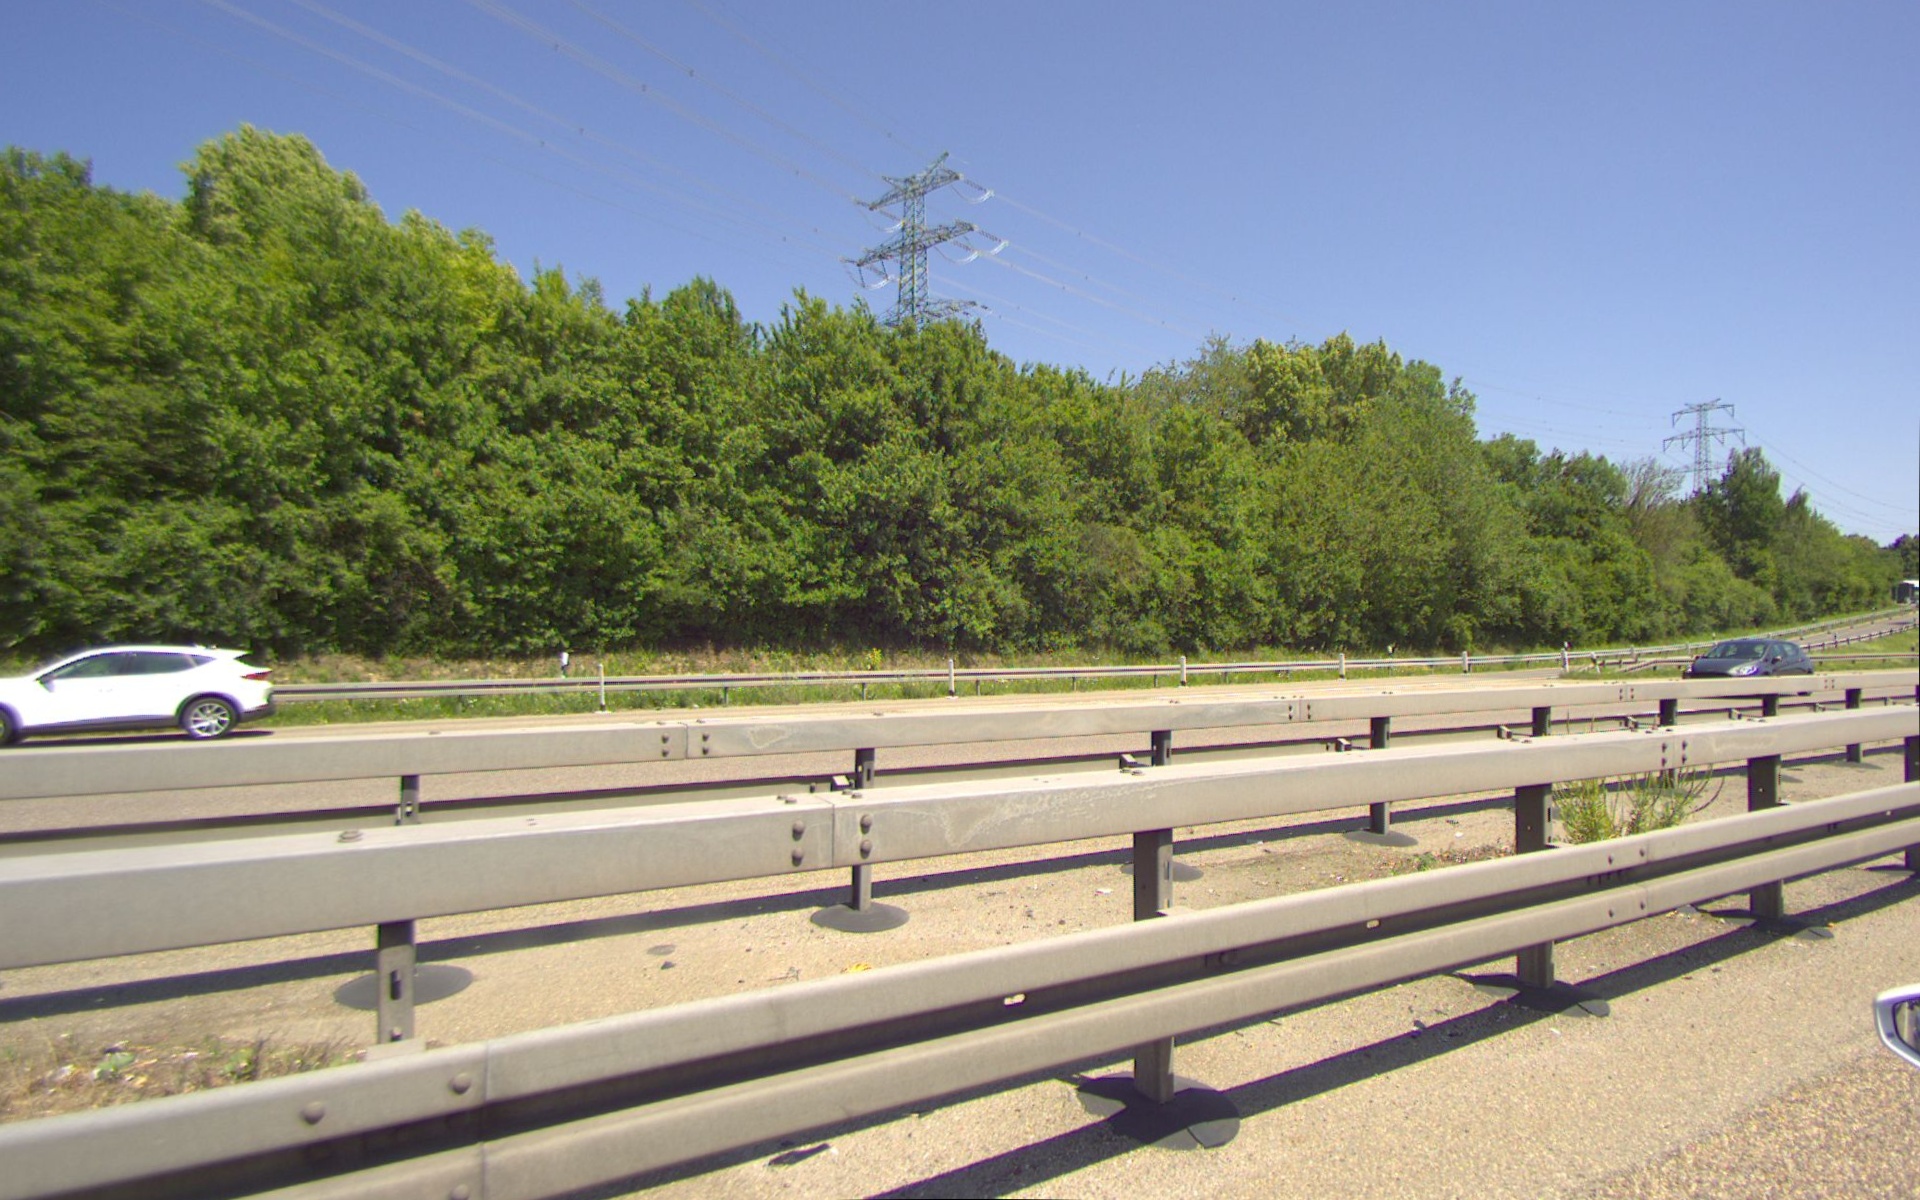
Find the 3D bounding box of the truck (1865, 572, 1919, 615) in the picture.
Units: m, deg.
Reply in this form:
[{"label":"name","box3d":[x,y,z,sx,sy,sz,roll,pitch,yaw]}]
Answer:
[{"label":"truck","box3d":[167.214,-1.058,179.854,4.603,7.324,13.616,2,0,30]}]

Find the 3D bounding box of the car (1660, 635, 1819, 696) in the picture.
[{"label":"car","box3d":[20.039,1.651,25.794,4.098,1.465,1.867,2,-3,-31]}]

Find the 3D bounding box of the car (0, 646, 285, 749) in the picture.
[{"label":"car","box3d":[-13.349,1.479,15.974,4.302,1.474,1.675,2,-3,-35]}]
